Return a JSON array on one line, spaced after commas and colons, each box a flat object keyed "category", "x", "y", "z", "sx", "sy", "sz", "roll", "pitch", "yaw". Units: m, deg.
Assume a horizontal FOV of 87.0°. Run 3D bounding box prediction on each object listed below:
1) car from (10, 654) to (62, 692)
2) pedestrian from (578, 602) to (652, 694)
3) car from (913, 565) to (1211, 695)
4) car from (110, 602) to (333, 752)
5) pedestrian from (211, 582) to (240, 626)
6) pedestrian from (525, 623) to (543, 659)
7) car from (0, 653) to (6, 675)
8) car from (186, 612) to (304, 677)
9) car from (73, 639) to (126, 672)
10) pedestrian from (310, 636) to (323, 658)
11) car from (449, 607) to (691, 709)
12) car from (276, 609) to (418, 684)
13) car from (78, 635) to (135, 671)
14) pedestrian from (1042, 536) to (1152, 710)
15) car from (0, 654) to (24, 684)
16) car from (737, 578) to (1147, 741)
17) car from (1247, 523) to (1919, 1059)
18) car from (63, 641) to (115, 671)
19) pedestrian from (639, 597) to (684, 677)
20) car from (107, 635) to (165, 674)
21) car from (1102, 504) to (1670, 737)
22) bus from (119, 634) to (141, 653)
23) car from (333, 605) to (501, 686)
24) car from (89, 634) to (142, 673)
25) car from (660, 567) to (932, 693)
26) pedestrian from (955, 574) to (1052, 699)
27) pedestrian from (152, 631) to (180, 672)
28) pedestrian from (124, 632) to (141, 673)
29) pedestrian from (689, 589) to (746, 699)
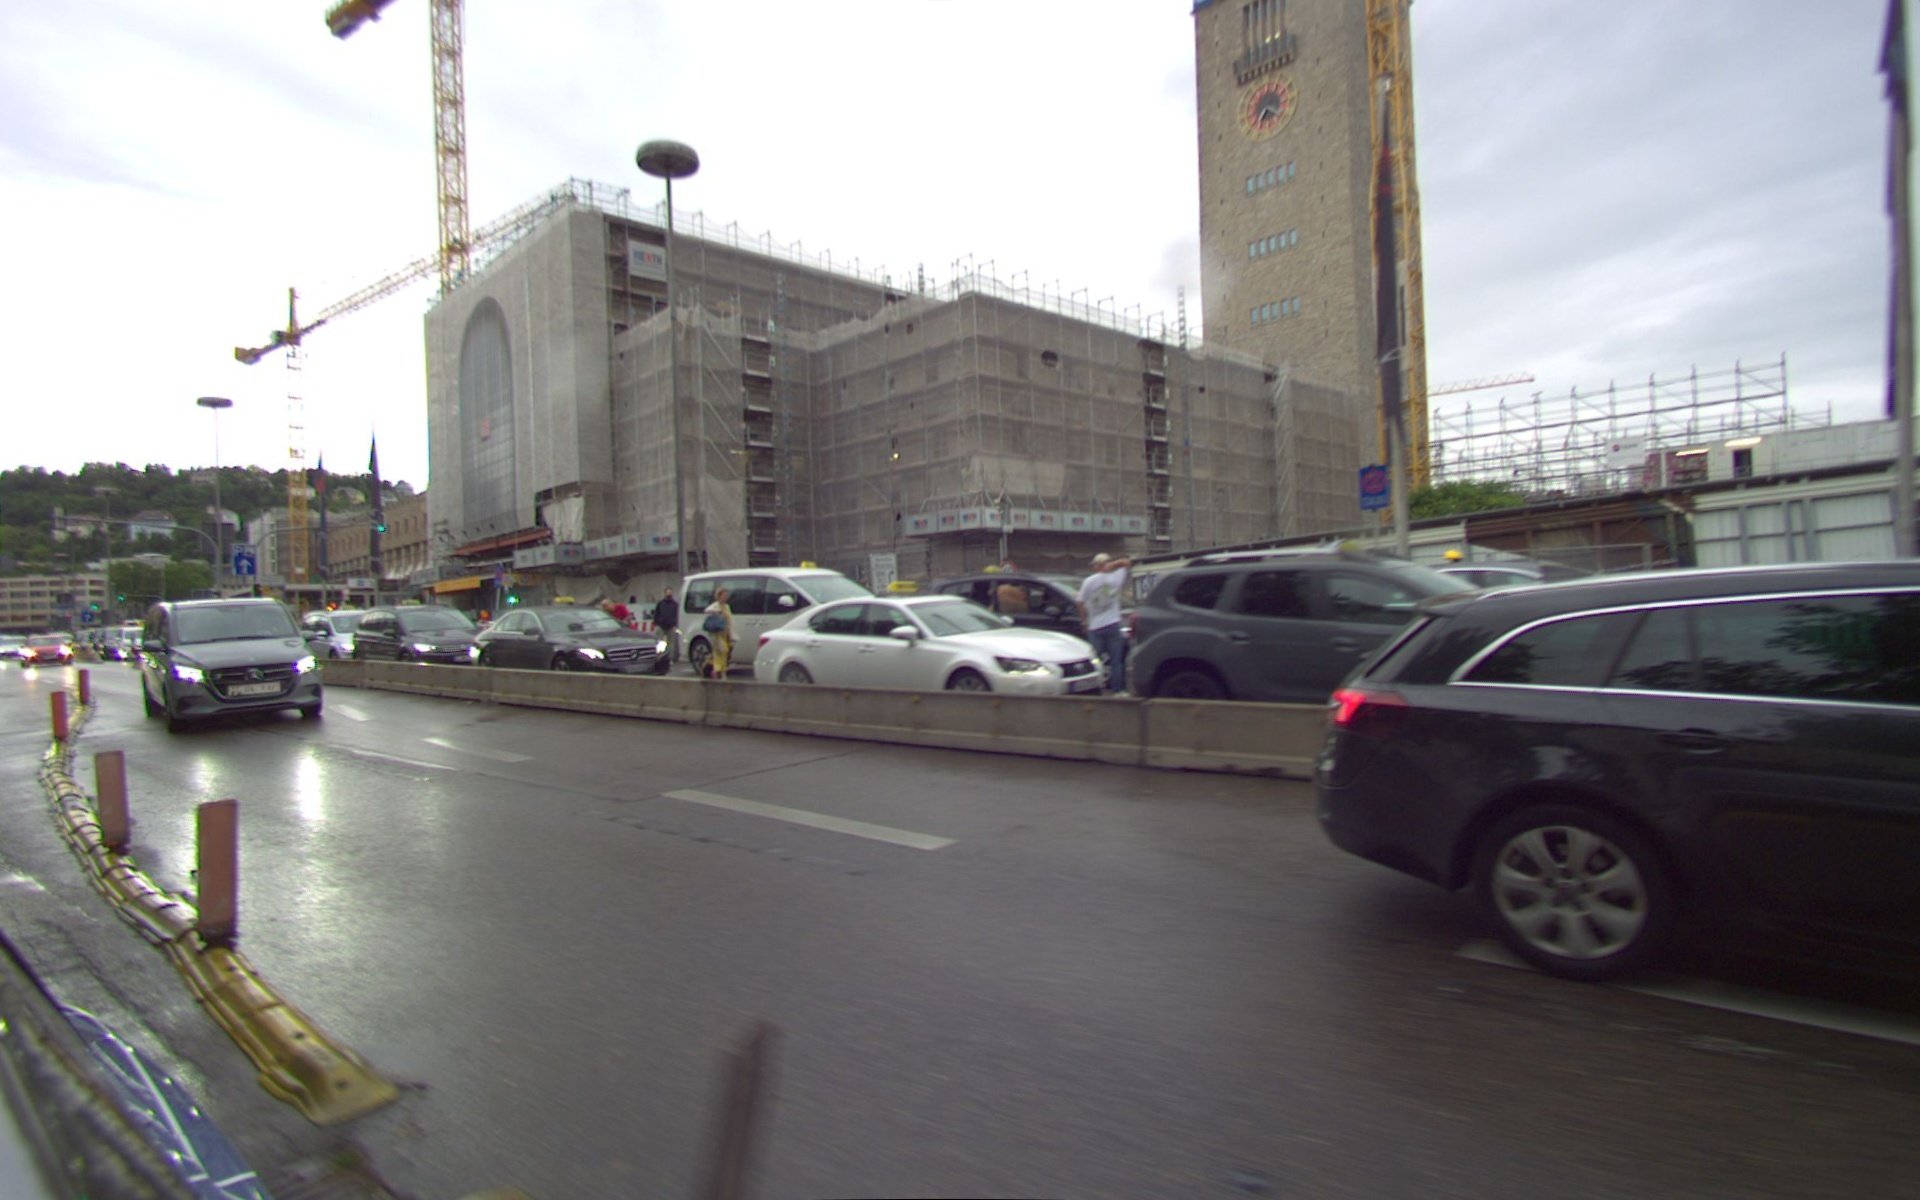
[{"category": "car", "x": -42.985, "y": 3.352, "z": 47.051, "sx": 1.685, "sy": 1.505, "sz": 3.674, "roll": -3, "pitch": 1, "yaw": -43}, {"category": "pedestrian", "x": -6.618, "y": 0.908, "z": 19.416, "sx": 1.013, "sy": 1.687, "sz": 0.837, "roll": -2, "pitch": -1, "yaw": -45}, {"category": "car", "x": 1.399, "y": 0.441, "z": 14.870, "sx": 4.053, "sy": 1.641, "sz": 1.697, "roll": -3, "pitch": 0, "yaw": 41}, {"category": "car", "x": -11.956, "y": 1.146, "z": 16.221, "sx": 5.252, "sy": 1.918, "sz": 1.971, "roll": -3, "pitch": 1, "yaw": 44}, {"category": "pedestrian", "x": -32.169, "y": 0.184, "z": 44.315, "sx": 0.690, "sy": 1.900, "sz": 0.823, "roll": -3, "pitch": -1, "yaw": 36}, {"category": "pedestrian", "x": -22.181, "y": 2.122, "z": 52.713, "sx": 0.528, "sy": 1.855, "sz": 0.690, "roll": -3, "pitch": -1, "yaw": 44}, {"category": "car", "x": -70.880, "y": 4.733, "z": 73.660, "sx": 1.970, "sy": 1.569, "sz": 3.913, "roll": -2, "pitch": -1, "yaw": -43}, {"category": "car", "x": -23.274, "y": 1.429, "z": 32.849, "sx": 5.060, "sy": 1.859, "sz": 1.973, "roll": -3, "pitch": 1, "yaw": 42}, {"category": "car", "x": -51.912, "y": 3.353, "z": 61.029, "sx": 4.455, "sy": 1.800, "sz": 1.971, "roll": -3, "pitch": -1, "yaw": 44}, {"category": "pedestrian", "x": -55.878, "y": 4.054, "z": 87.887, "sx": 0.692, "sy": 1.855, "sz": 0.880, "roll": -3, "pitch": -1, "yaw": -15}, {"category": "car", "x": -7.171, "y": 1.001, "z": 18.316, "sx": 5.003, "sy": 1.522, "sz": 1.952, "roll": -3, "pitch": 1, "yaw": 41}, {"category": "car", "x": -16.106, "y": 1.189, "z": 26.496, "sx": 4.772, "sy": 1.709, "sz": 1.805, "roll": -3, "pitch": 1, "yaw": 42}, {"category": "car", "x": -47.813, "y": 2.959, "z": 56.653, "sx": 4.849, "sy": 1.800, "sz": 1.971, "roll": -3, "pitch": -1, "yaw": 45}, {"category": "pedestrian", "x": 1.674, "y": 0.275, "z": 12.494, "sx": 1.011, "sy": 2.029, "sz": 0.838, "roll": -3, "pitch": -1, "yaw": -13}, {"category": "car", "x": -61.534, "y": 4.470, "z": 65.105, "sx": 1.845, "sy": 1.770, "sz": 3.905, "roll": -3, "pitch": 1, "yaw": -43}, {"category": "car", "x": -0.396, "y": 0.664, "z": 12.161, "sx": 4.874, "sy": 1.579, "sz": 1.972, "roll": -3, "pitch": -2, "yaw": 42}, {"category": "car", "x": 3.644, "y": 0.499, "z": 3.284, "sx": 4.849, "sy": 1.519, "sz": 1.858, "roll": -3, "pitch": 0, "yaw": 41}, {"category": "car", "x": -55.577, "y": 3.549, "z": 64.551, "sx": 5.057, "sy": 1.724, "sz": 2.026, "roll": -3, "pitch": -1, "yaw": 44}, {"category": "pedestrian", "x": -6.818, "y": 0.835, "z": 23.112, "sx": 0.627, "sy": 1.766, "sz": 0.823, "roll": -3, "pitch": 0, "yaw": -42}, {"category": "car", "x": -39.212, "y": 2.576, "z": 48.144, "sx": 1.765, "sy": 1.698, "sz": 4.670, "roll": -1, "pitch": -1, "yaw": -44}, {"category": "car", "x": 3.545, "y": 0.209, "z": 8.750, "sx": 4.146, "sy": 1.541, "sz": 1.975, "roll": -3, "pitch": -2, "yaw": 38}, {"category": "bus", "x": -169.349, "y": 8.962, "z": 206.346, "sx": 2.874, "sy": 3.605, "sz": 19.103, "roll": -1, "pitch": -2, "yaw": -41}, {"category": "car", "x": -12.069, "y": 0.990, "z": 22.367, "sx": 4.489, "sy": 1.522, "sz": 1.805, "roll": -3, "pitch": 1, "yaw": 42}, {"category": "car", "x": -44.023, "y": 2.771, "z": 52.731, "sx": 1.694, "sy": 1.906, "sz": 4.612, "roll": -1, "pitch": -1, "yaw": -45}, {"category": "car", "x": -3.207, "y": 0.551, "z": 19.005, "sx": 5.366, "sy": 2.028, "sz": 1.973, "roll": -3, "pitch": 1, "yaw": 41}, {"category": "pedestrian", "x": 0.620, "y": 0.513, "z": 14.510, "sx": 0.823, "sy": 1.695, "sz": 1.029, "roll": -2, "pitch": -1, "yaw": -42}, {"category": "pedestrian", "x": -40.488, "y": 2.610, "z": 51.612, "sx": 1.011, "sy": 2.029, "sz": 0.838, "roll": -2, "pitch": -1, "yaw": -35}, {"category": "pedestrian", "x": -41.751, "y": 2.640, "z": 51.058, "sx": 0.891, "sy": 2.029, "sz": 0.522, "roll": -4, "pitch": -1, "yaw": 43}, {"category": "pedestrian", "x": -4.202, "y": 0.744, "z": 17.498, "sx": 0.822, "sy": 1.797, "sz": 1.031, "roll": -3, "pitch": -1, "yaw": -17}]
